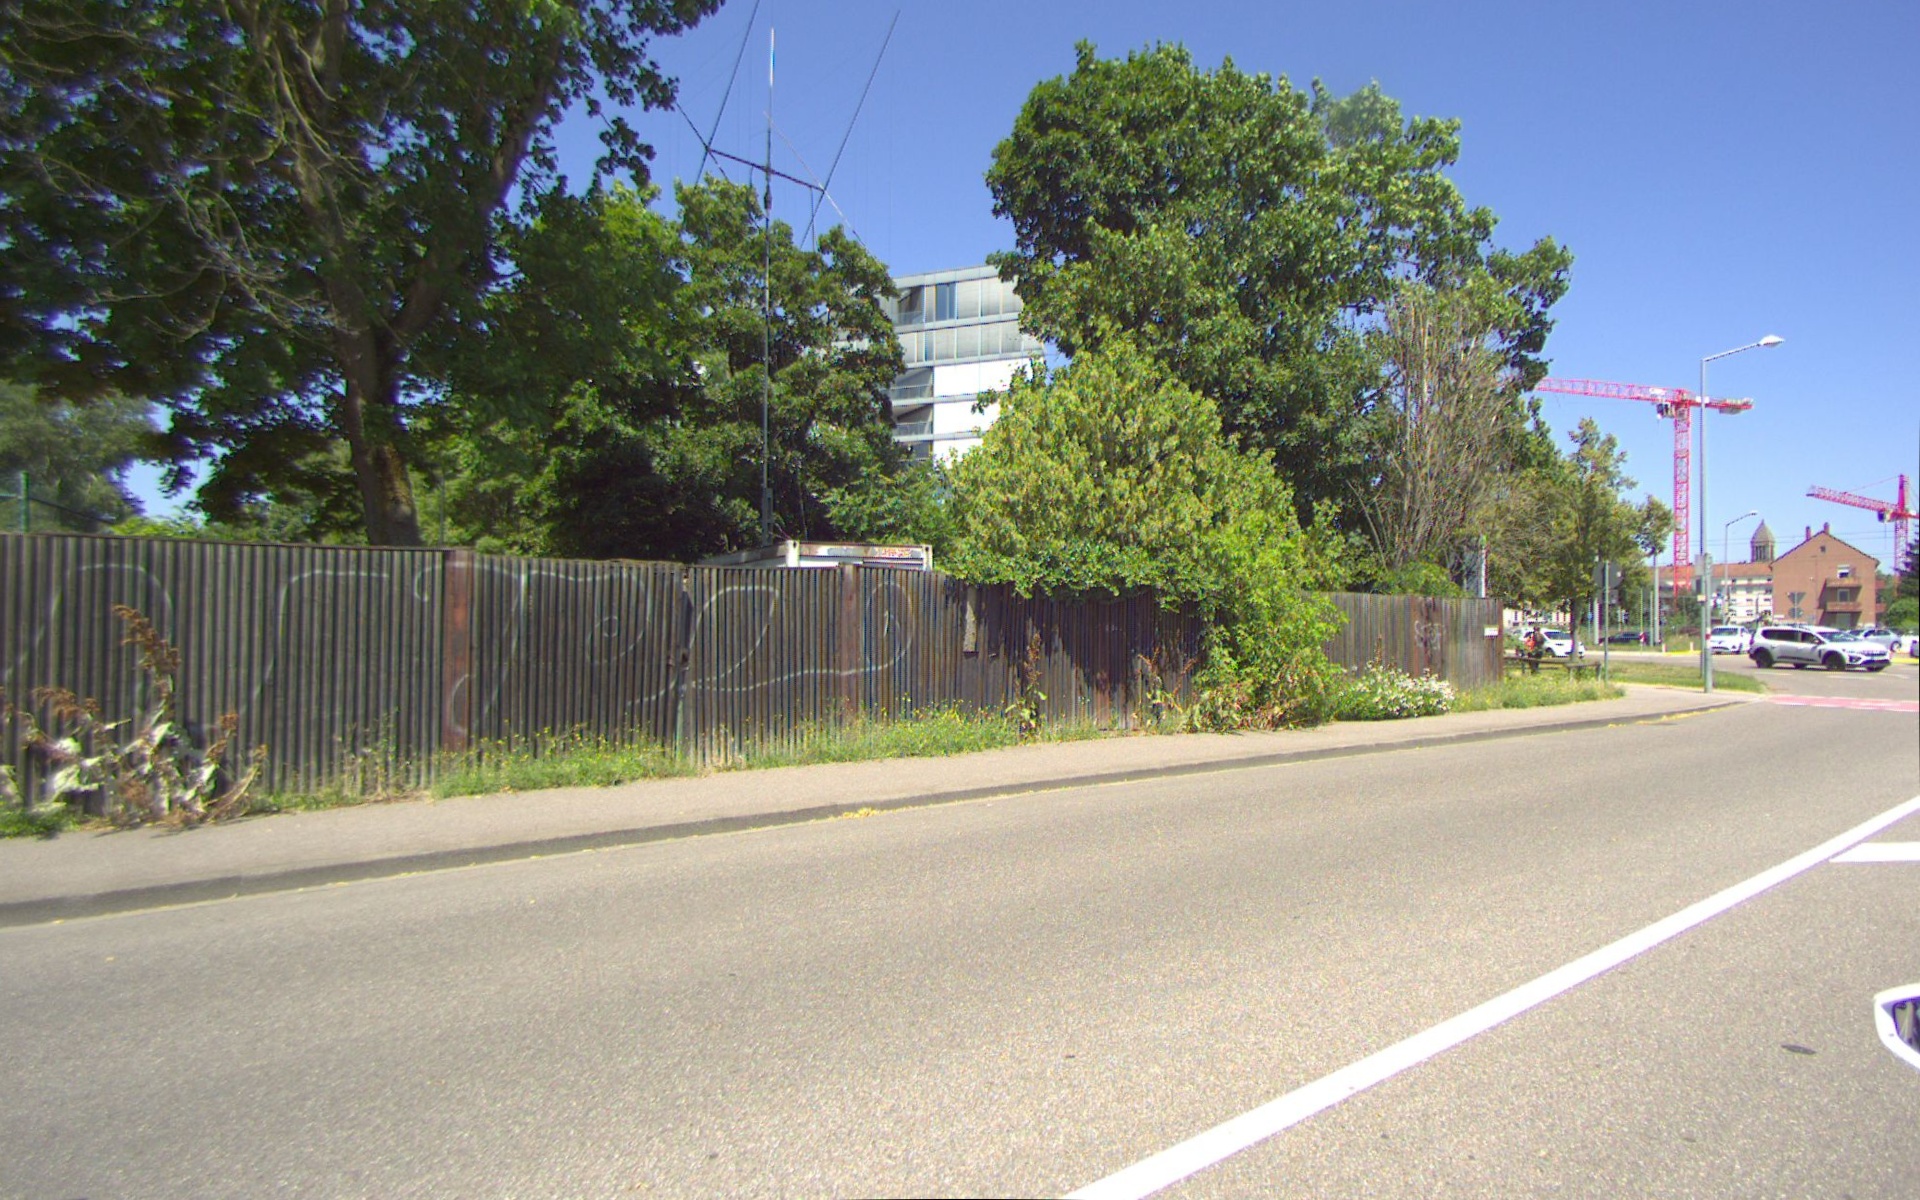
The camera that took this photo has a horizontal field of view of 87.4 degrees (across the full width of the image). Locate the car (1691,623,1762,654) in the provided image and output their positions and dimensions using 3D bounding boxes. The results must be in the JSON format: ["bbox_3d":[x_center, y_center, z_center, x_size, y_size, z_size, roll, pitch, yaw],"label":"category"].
[{"bbox_3d":[42.126,2.110,55.210,3.953,1.570,1.748,1,-1,-30],"label":"car"}]

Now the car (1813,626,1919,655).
[{"bbox_3d":[59.258,2.647,65.729,4.834,1.810,2.027,-1,-2,18],"label":"car"}]

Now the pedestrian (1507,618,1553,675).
[{"bbox_3d":[16.446,1.330,28.995,0.796,1.584,0.876,1,0,-7],"label":"pedestrian"}]

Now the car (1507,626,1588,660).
[{"bbox_3d":[31.121,2.240,53.294,1.649,1.641,4.008,1,-1,-6],"label":"car"}]

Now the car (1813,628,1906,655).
[{"bbox_3d":[55.686,2.546,62.261,4.136,1.520,1.713,1,0,3],"label":"car"}]

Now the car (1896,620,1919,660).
[{"bbox_3d":[38.301,1.564,37.264,1.965,1.529,4.995,1,-1,-13],"label":"car"}]

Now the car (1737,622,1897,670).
[{"bbox_3d":[31.763,1.663,37.450,1.961,1.587,4.589,1,-1,-2],"label":"car"}]
